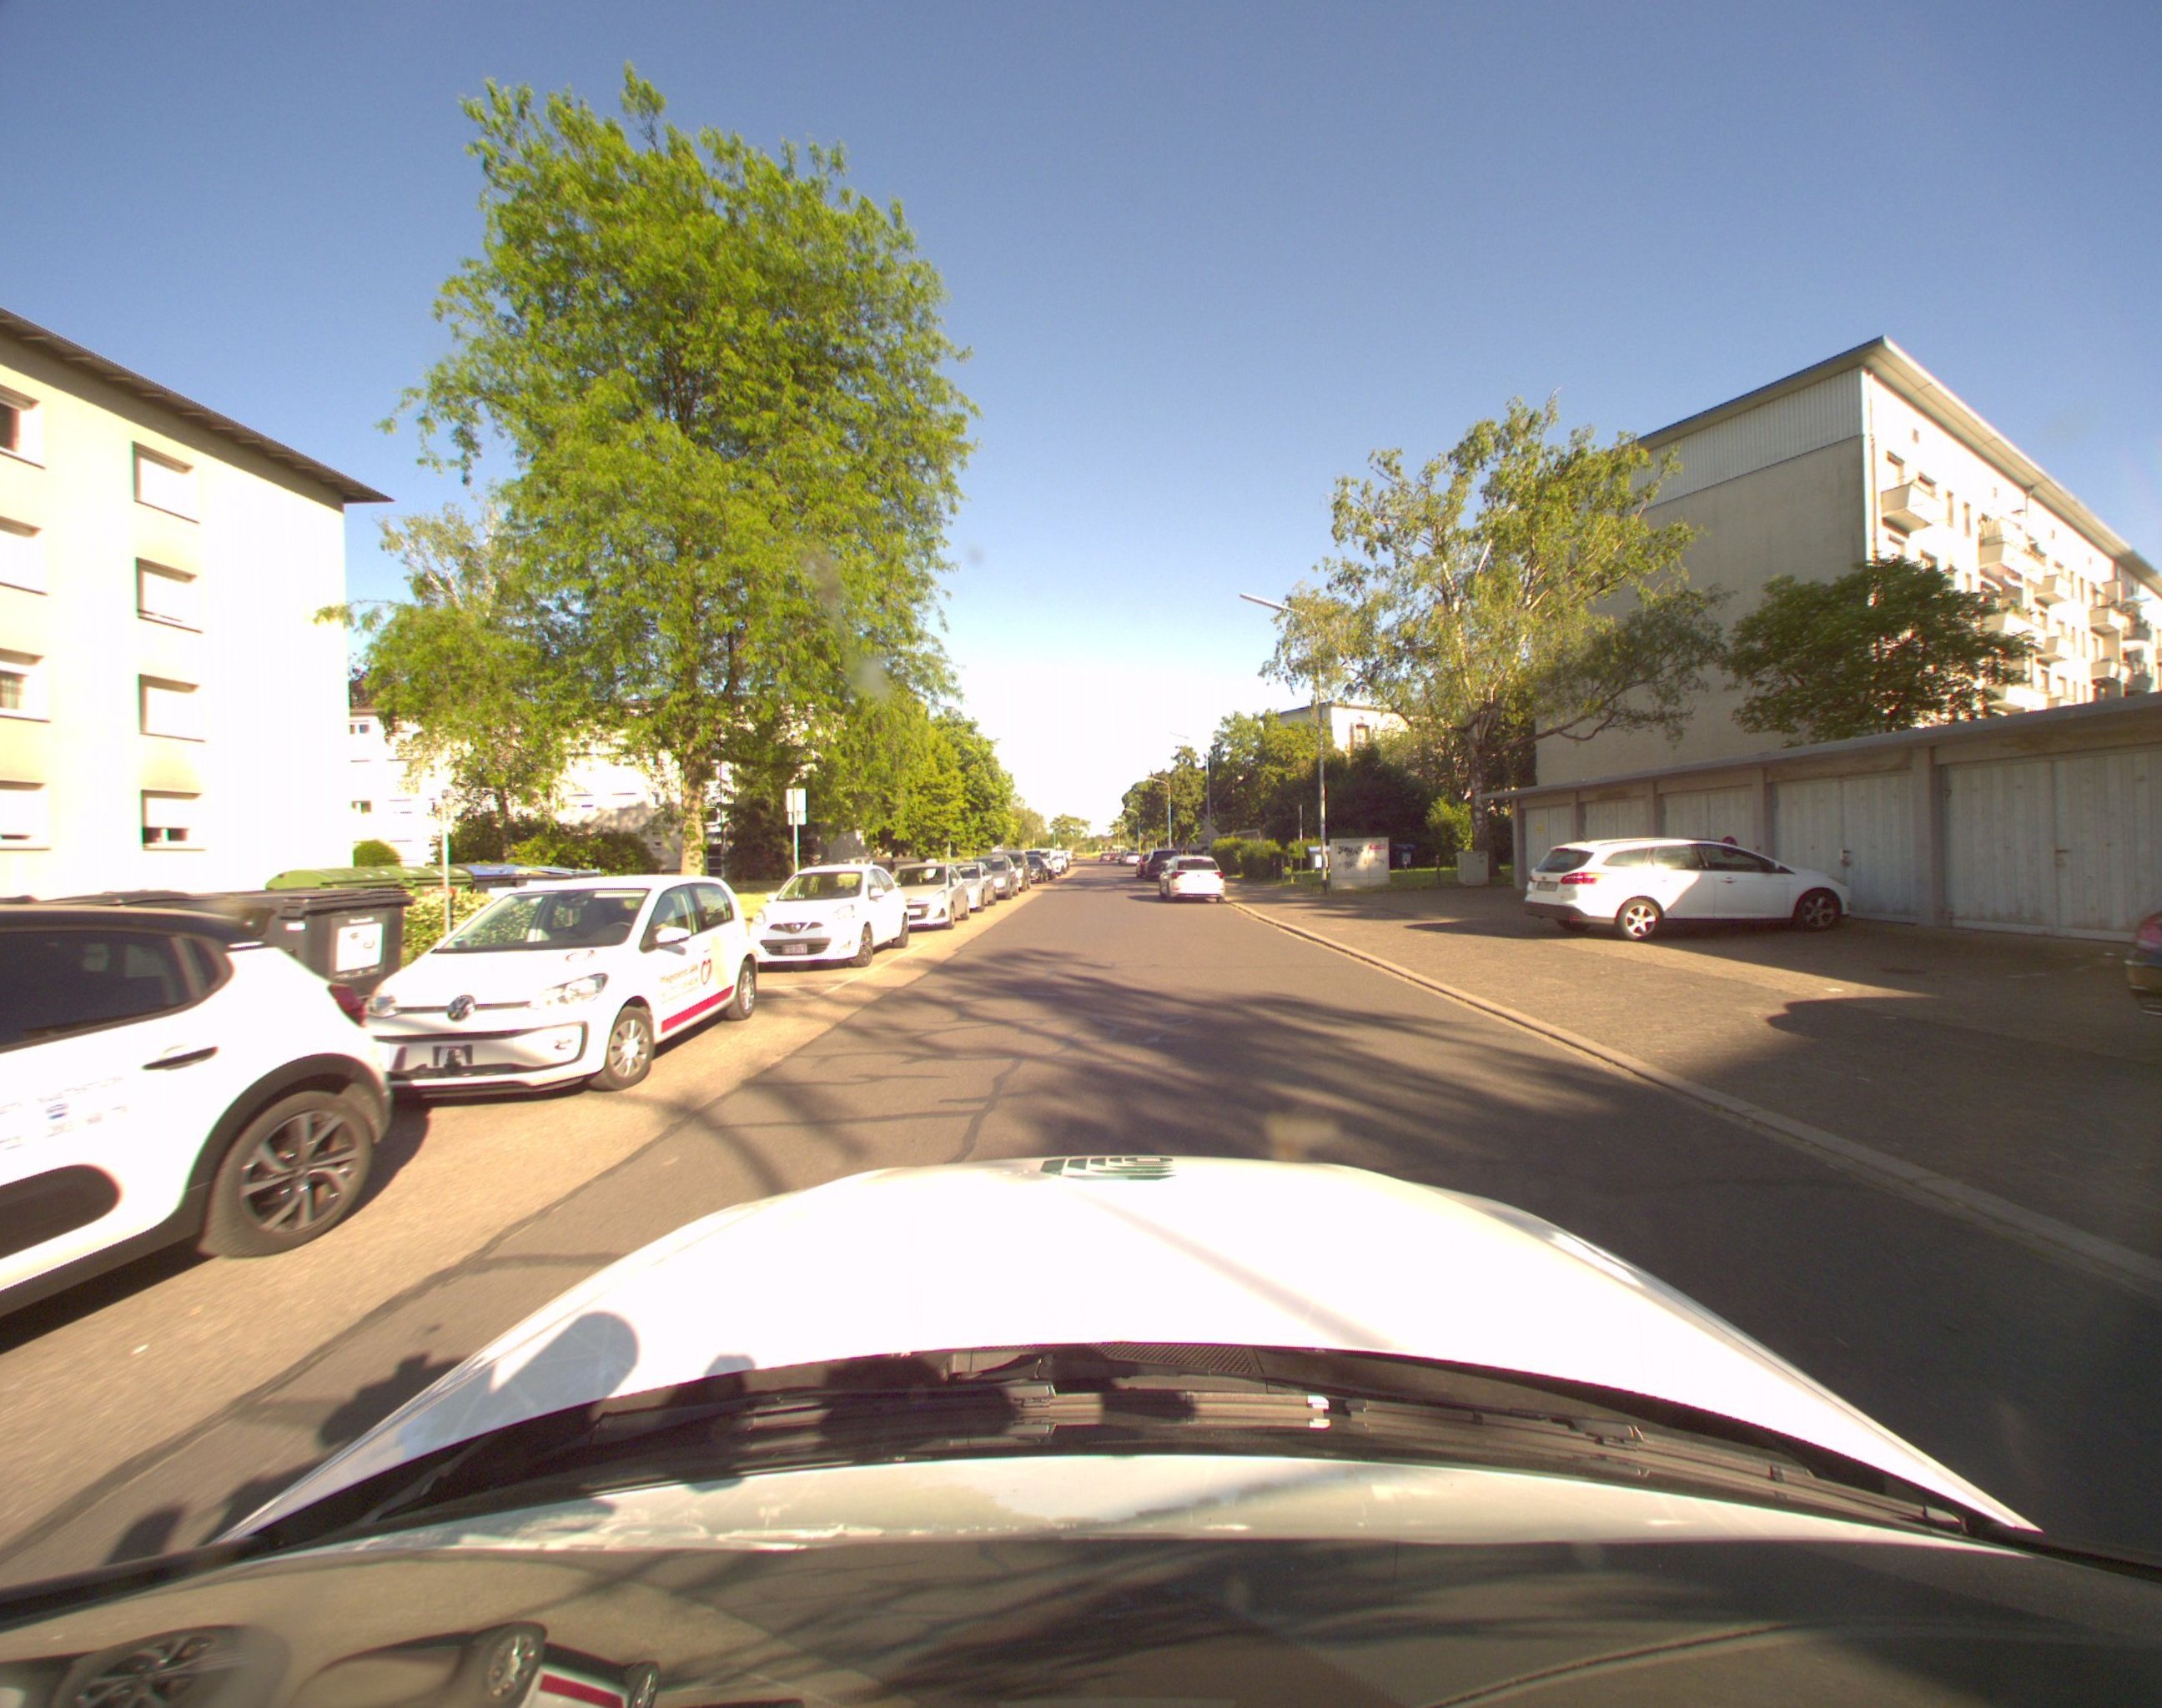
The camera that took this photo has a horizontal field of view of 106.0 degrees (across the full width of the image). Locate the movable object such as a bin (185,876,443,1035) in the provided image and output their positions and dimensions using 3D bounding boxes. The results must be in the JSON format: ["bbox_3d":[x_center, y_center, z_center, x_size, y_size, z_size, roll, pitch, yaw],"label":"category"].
[{"bbox_3d":[-7.321,0.911,7.879,1.173,1.340,1.344,1,0,3],"label":"movable object such as a bin"}]

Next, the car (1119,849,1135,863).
[{"bbox_3d":[5.845,0.219,104.073,1.790,1.786,3.950,-1,0,-1],"label":"car"}]

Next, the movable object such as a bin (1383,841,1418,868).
[{"bbox_3d":[16.918,0.015,43.153,1.254,1.353,1.275,-1,0,-9],"label":"movable object such as a bin"}]

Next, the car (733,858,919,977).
[{"bbox_3d":[-3.915,0.889,13.228,1.681,1.535,3.891,-3,0,1],"label":"car"}]

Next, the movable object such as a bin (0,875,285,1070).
[{"bbox_3d":[-7.635,0.883,6.584,1.131,1.358,1.244,1,0,3],"label":"movable object such as a bin"}]

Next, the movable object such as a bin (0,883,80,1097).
[{"bbox_3d":[-7.717,0.905,5.077,1.131,1.382,1.443,1,0,3],"label":"movable object such as a bin"}]

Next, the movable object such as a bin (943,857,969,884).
[{"bbox_3d":[-6.559,0.876,42.888,1.097,1.371,1.361,1,0,2],"label":"movable object such as a bin"}]

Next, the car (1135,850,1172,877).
[{"bbox_3d":[4.222,0.537,47.913,1.901,1.531,4.329,-1,0,1],"label":"car"}]

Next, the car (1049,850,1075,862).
[{"bbox_3d":[-3.061,0.315,130.351,4.045,1.992,1.799,-1,0,-4],"label":"car"}]

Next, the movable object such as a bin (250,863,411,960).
[{"bbox_3d":[-11.990,0.883,13.086,1.172,1.420,1.464,1,0,3],"label":"movable object such as a bin"}]

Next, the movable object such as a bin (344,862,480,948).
[{"bbox_3d":[-11.941,0.876,14.610,1.172,1.420,1.464,1,0,3],"label":"movable object such as a bin"}]

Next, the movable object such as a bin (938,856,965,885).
[{"bbox_3d":[-6.565,0.835,41.391,1.097,1.420,1.361,1,0,2],"label":"movable object such as a bin"}]

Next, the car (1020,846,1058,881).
[{"bbox_3d":[-2.571,0.567,51.346,1.907,1.962,5.090,-3,0,2],"label":"car"}]

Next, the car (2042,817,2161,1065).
[{"bbox_3d":[8.820,0.445,4.590,4.495,1.513,1.830,-2,0,2],"label":"car"}]

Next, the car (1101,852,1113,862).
[{"bbox_3d":[4.086,0.454,129.164,1.675,1.513,4.102,0,0,-1],"label":"car"}]

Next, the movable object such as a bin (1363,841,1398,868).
[{"bbox_3d":[15.588,0.039,42.458,1.253,1.353,1.276,-1,0,-7],"label":"movable object such as a bin"}]

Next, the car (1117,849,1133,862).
[{"bbox_3d":[5.805,0.197,108.304,1.790,1.643,3.950,-1,0,-1],"label":"car"}]

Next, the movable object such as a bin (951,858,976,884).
[{"bbox_3d":[-6.369,0.888,44.291,1.097,1.356,1.361,1,0,2],"label":"movable object such as a bin"}]

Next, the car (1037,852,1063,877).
[{"bbox_3d":[-2.238,0.707,59.405,1.741,1.669,4.376,-3,0,-1],"label":"car"}]

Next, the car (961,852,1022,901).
[{"bbox_3d":[-3.235,0.771,30.048,1.704,1.600,3.985,-4,0,0],"label":"car"}]

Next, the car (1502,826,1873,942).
[{"bbox_3d":[9.272,0.435,12.744,4.398,1.513,1.829,-2,0,1],"label":"car"}]

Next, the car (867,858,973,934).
[{"bbox_3d":[-3.644,0.894,19.077,1.681,1.505,3.817,-2,0,0],"label":"car"}]

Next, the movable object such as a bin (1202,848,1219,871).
[{"bbox_3d":[8.425,0.339,52.909,0.914,1.454,1.233,-2,0,1],"label":"movable object such as a bin"}]

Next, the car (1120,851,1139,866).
[{"bbox_3d":[5.212,0.427,88.120,1.790,1.561,3.950,-1,0,-1],"label":"car"}]

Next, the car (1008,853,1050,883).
[{"bbox_3d":[-2.806,0.738,44.910,1.739,1.533,4.143,-3,0,4],"label":"car"}]

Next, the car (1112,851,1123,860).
[{"bbox_3d":[6.398,0.255,143.389,1.790,1.548,3.950,-1,0,-1],"label":"car"}]

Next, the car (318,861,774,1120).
[{"bbox_3d":[-4.005,0.859,6.882,1.660,1.513,3.532,-3,0,-5],"label":"car"}]

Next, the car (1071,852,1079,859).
[{"bbox_3d":[-1.358,0.380,176.683,1.790,1.561,3.950,-1,0,-1],"label":"car"}]

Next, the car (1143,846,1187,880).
[{"bbox_3d":[4.270,0.420,42.044,1.901,1.639,4.630,-1,0,2],"label":"car"}]

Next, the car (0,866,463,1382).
[{"bbox_3d":[-4.100,0.859,2.202,1.656,1.513,3.948,-3,0,3],"label":"car"}]

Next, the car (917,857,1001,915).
[{"bbox_3d":[-3.566,0.891,24.629,1.680,1.465,4.526,-4,0,1],"label":"car"}]

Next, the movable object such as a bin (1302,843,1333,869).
[{"bbox_3d":[12.392,0.104,42.656,1.250,1.353,1.279,-1,0,1],"label":"movable object such as a bin"}]

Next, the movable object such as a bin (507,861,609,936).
[{"bbox_3d":[-10.538,0.870,16.477,1.130,1.420,1.362,1,0,3],"label":"movable object such as a bin"}]

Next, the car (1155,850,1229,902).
[{"bbox_3d":[3.429,0.641,25.893,1.748,1.513,4.102,0,0,-1],"label":"car"}]

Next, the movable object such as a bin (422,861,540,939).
[{"bbox_3d":[-11.831,0.881,16.128,1.172,1.420,1.464,1,0,3],"label":"movable object such as a bin"}]

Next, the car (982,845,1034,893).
[{"bbox_3d":[-3.150,0.607,35.929,1.848,1.892,4.417,-3,0,0],"label":"car"}]

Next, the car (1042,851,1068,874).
[{"bbox_3d":[-2.037,0.649,65.247,1.740,1.732,4.007,-3,0,1],"label":"car"}]

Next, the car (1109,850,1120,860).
[{"bbox_3d":[6.133,0.183,150.851,1.790,1.643,3.950,-1,0,-1],"label":"car"}]
